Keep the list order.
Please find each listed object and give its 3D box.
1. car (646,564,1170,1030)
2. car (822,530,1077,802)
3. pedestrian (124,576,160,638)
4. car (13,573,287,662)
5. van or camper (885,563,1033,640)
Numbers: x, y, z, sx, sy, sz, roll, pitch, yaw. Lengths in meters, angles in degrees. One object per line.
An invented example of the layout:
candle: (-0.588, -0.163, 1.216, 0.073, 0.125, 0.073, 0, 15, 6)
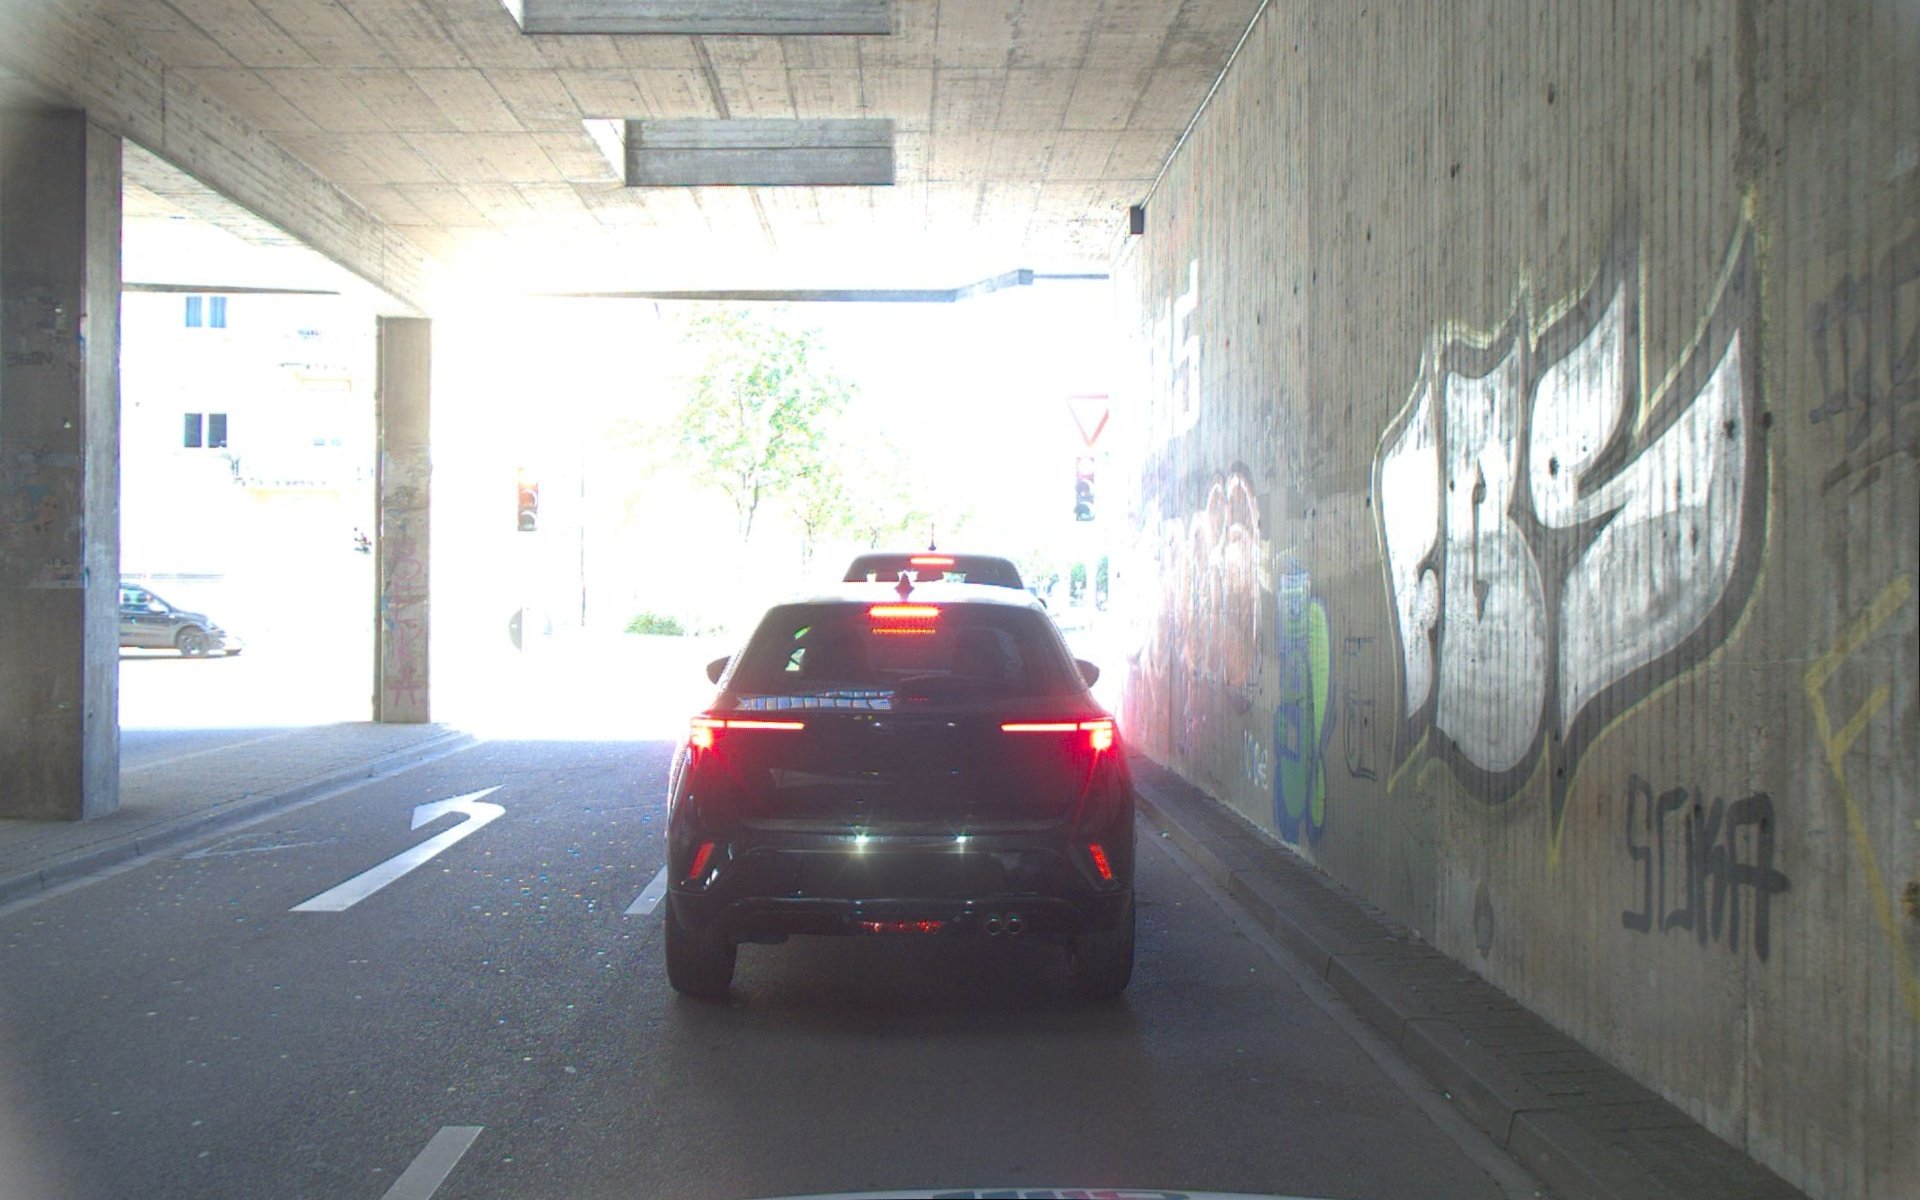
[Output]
car: (-0.191, 0.645, 7.504, 1.718, 1.525, 4.000, 1, 0, -1)
car: (-0.099, 0.446, 13.476, 1.749, 1.865, 3.960, 1, 0, -1)
pedestrian: (-23.312, 0.189, 47.137, 0.707, 1.734, 0.623, 1, -1, -9)
car: (-16.083, 0.324, 32.987, 4.481, 1.669, 2.002, 0, 2, 4)
van or camper: (-0.001, 0.035, 44.866, 3.795, 2.049, 2.002, 0, 0, 7)
